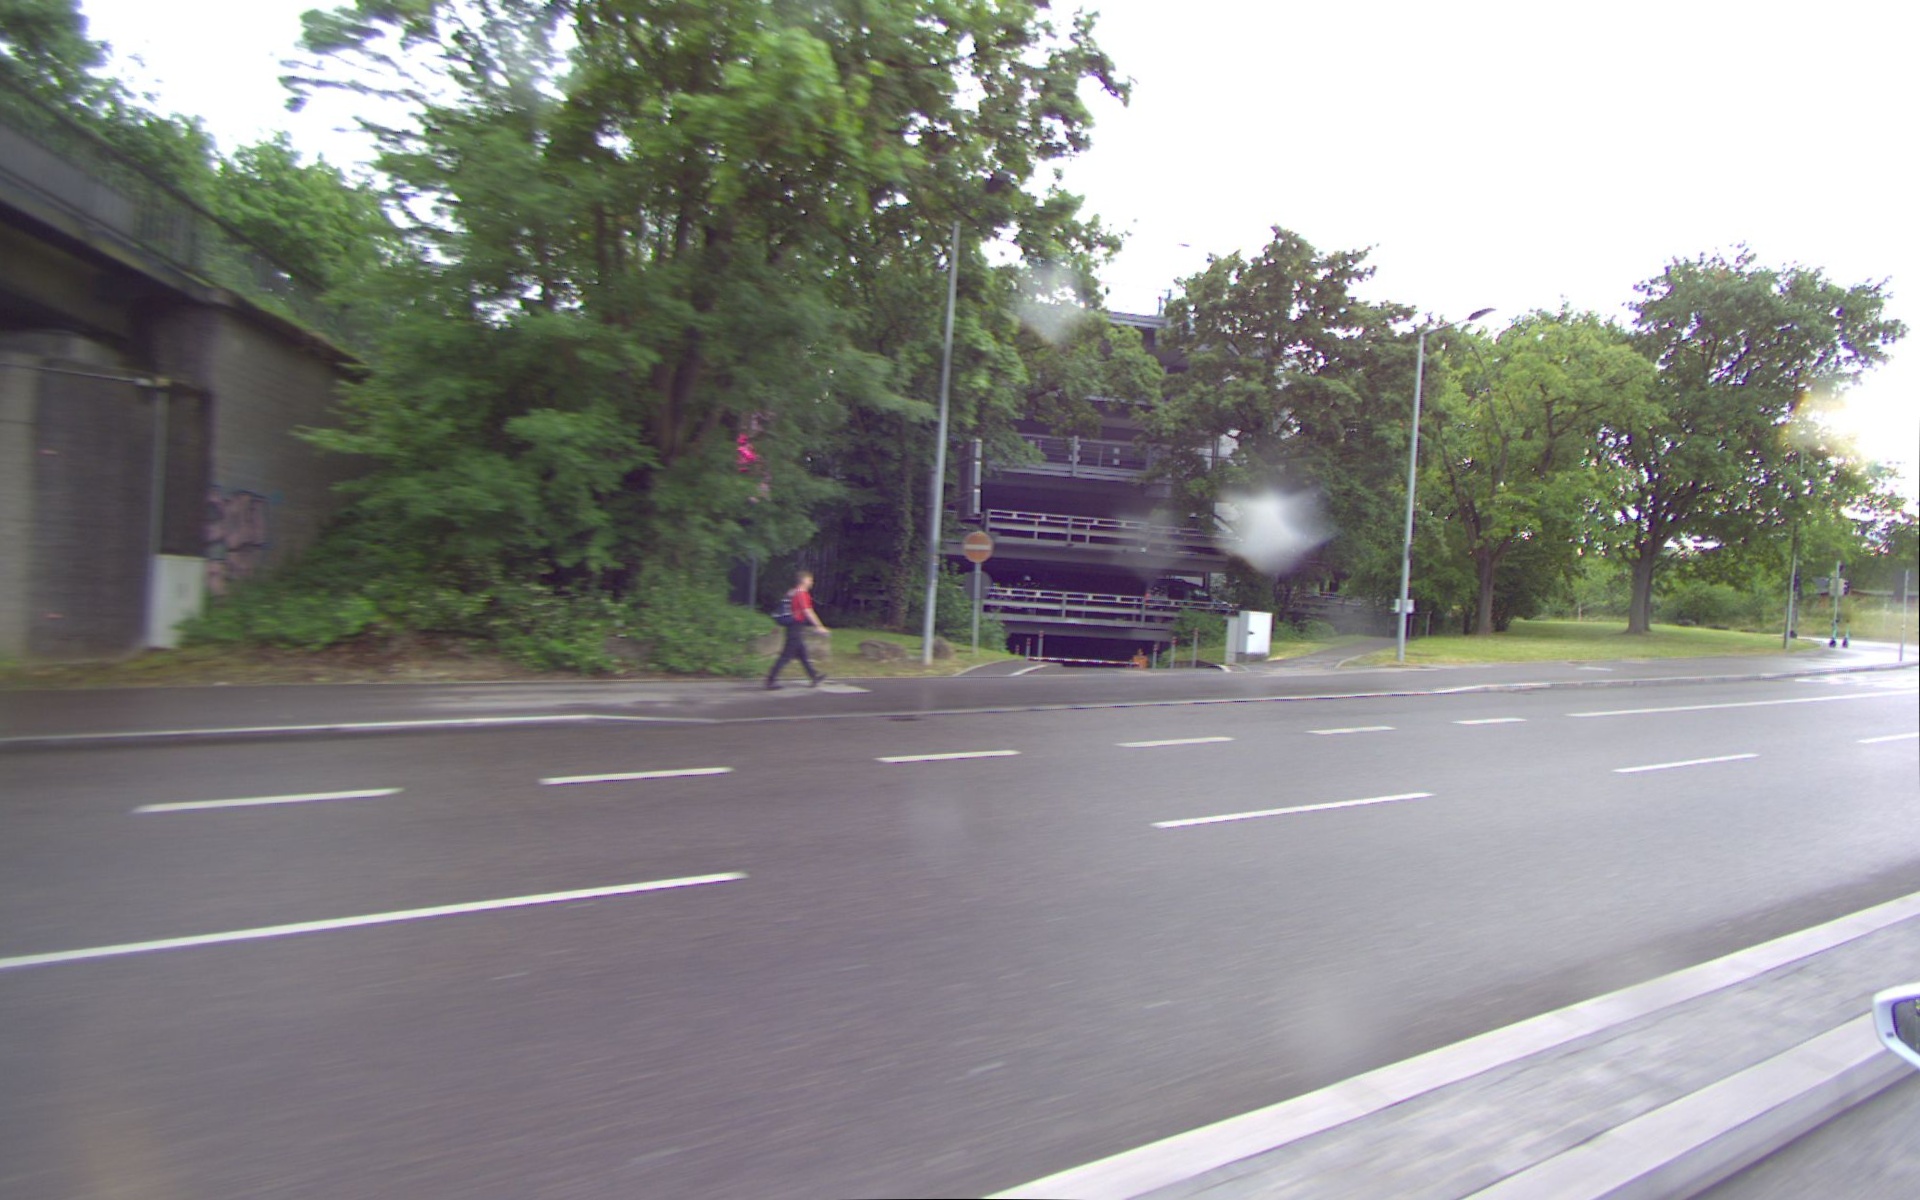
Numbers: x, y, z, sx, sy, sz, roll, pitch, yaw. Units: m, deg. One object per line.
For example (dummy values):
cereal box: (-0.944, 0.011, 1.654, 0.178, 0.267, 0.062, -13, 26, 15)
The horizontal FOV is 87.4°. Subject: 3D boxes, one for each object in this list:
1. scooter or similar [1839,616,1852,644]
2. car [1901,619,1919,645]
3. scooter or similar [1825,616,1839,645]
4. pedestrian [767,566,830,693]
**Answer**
scooter or similar: (39.924, 1.342, 45.275, 1.298, 1.234, 0.308, 0, 2, -43)
car: (62.510, 2.171, 63.070, 2.151, 1.604, 4.619, 3, 2, -34)
scooter or similar: (38.523, 1.333, 44.350, 1.298, 1.234, 0.308, 0, 2, -44)
pedestrian: (-2.396, 0.432, 14.865, 0.787, 1.840, 0.519, 2, 1, -19)
